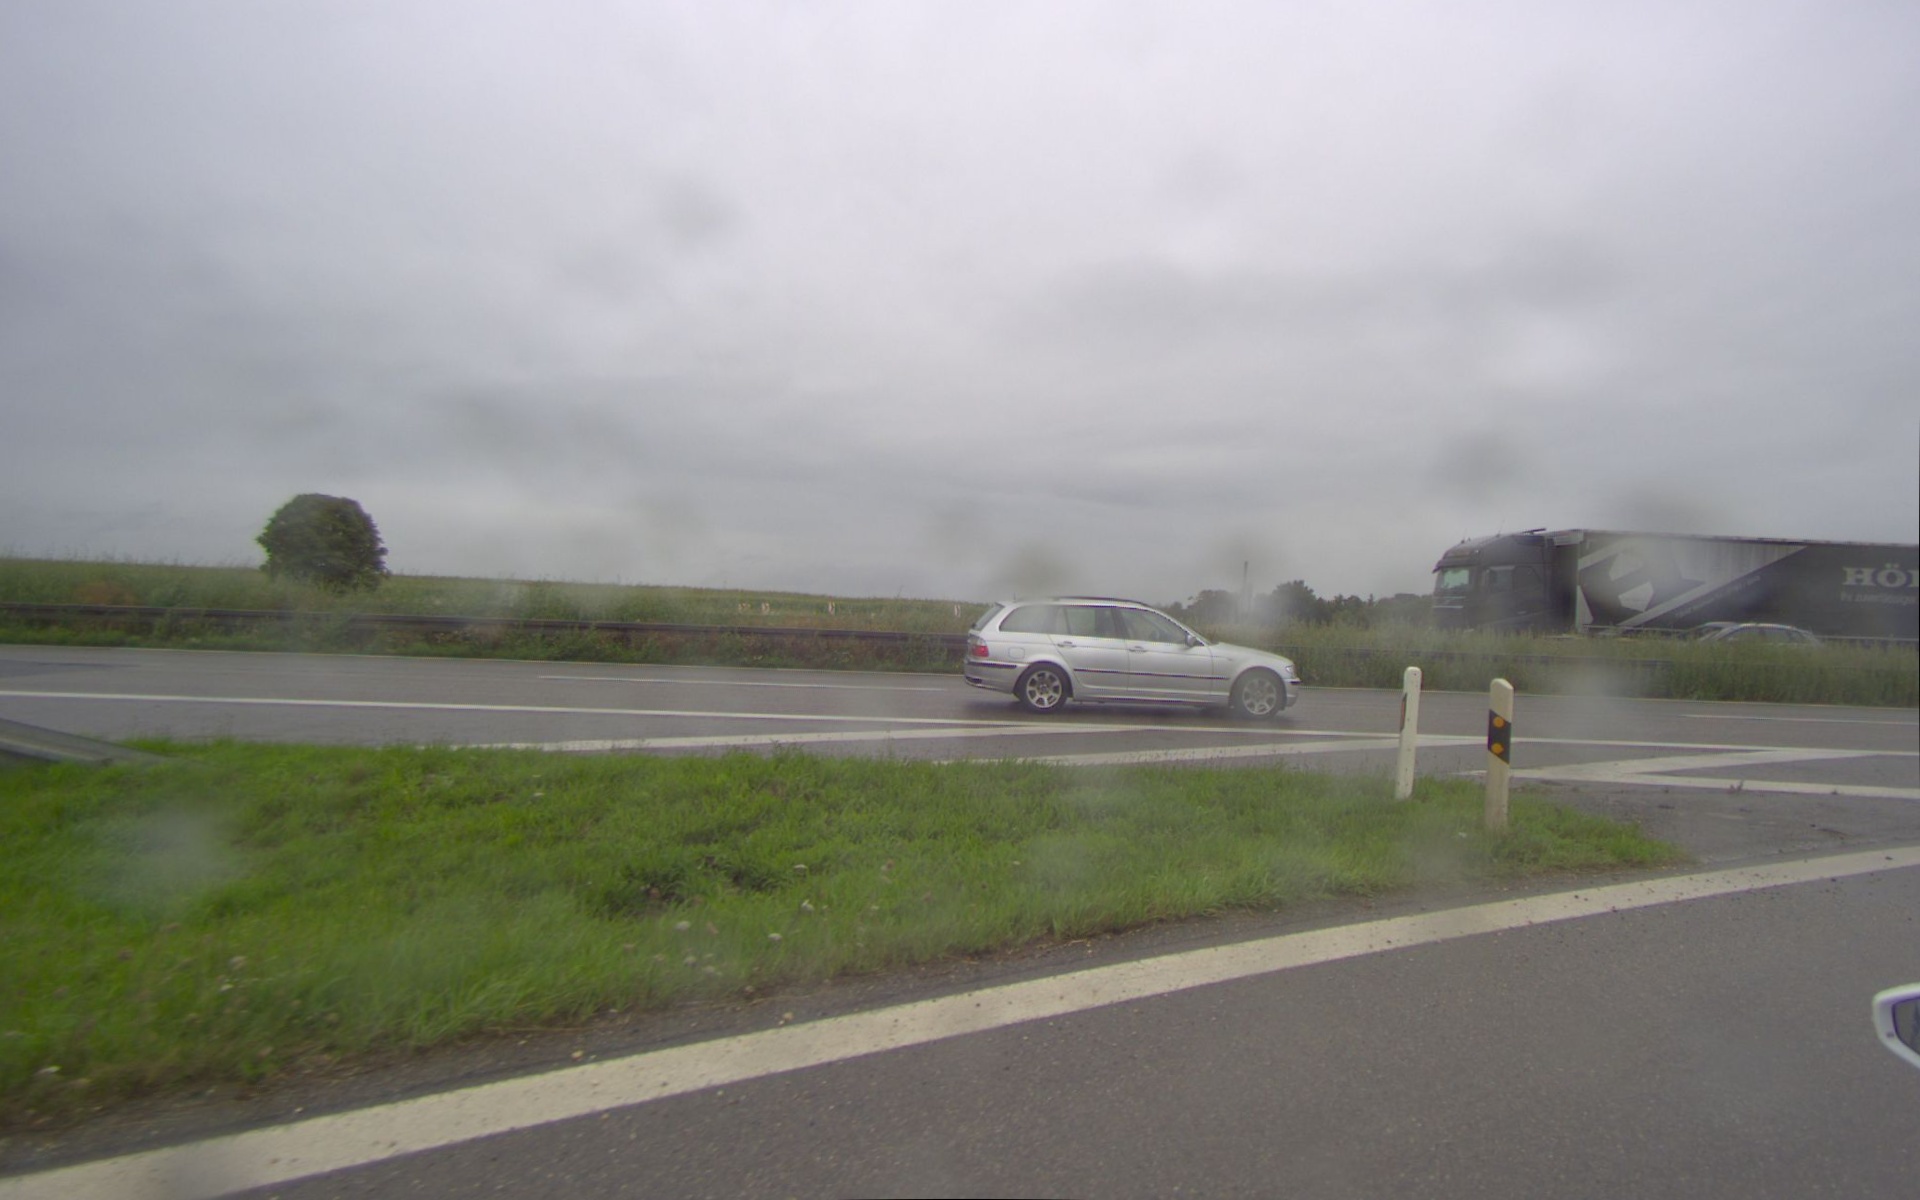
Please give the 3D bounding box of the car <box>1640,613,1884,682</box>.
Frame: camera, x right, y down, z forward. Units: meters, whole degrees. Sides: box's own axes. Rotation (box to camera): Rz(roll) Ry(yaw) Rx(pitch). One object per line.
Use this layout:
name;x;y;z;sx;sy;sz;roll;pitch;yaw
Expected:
car;20.045;1.168;25.263;4.443;1.454;2.111;2;1;-2

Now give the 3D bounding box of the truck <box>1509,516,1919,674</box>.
truck;23.755;-0.101;29.410;13.543;4.020;3.204;2;2;-1

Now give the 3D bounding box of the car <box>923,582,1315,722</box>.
car;1.904;0.647;13.028;4.703;1.508;1.880;2;-1;-2
